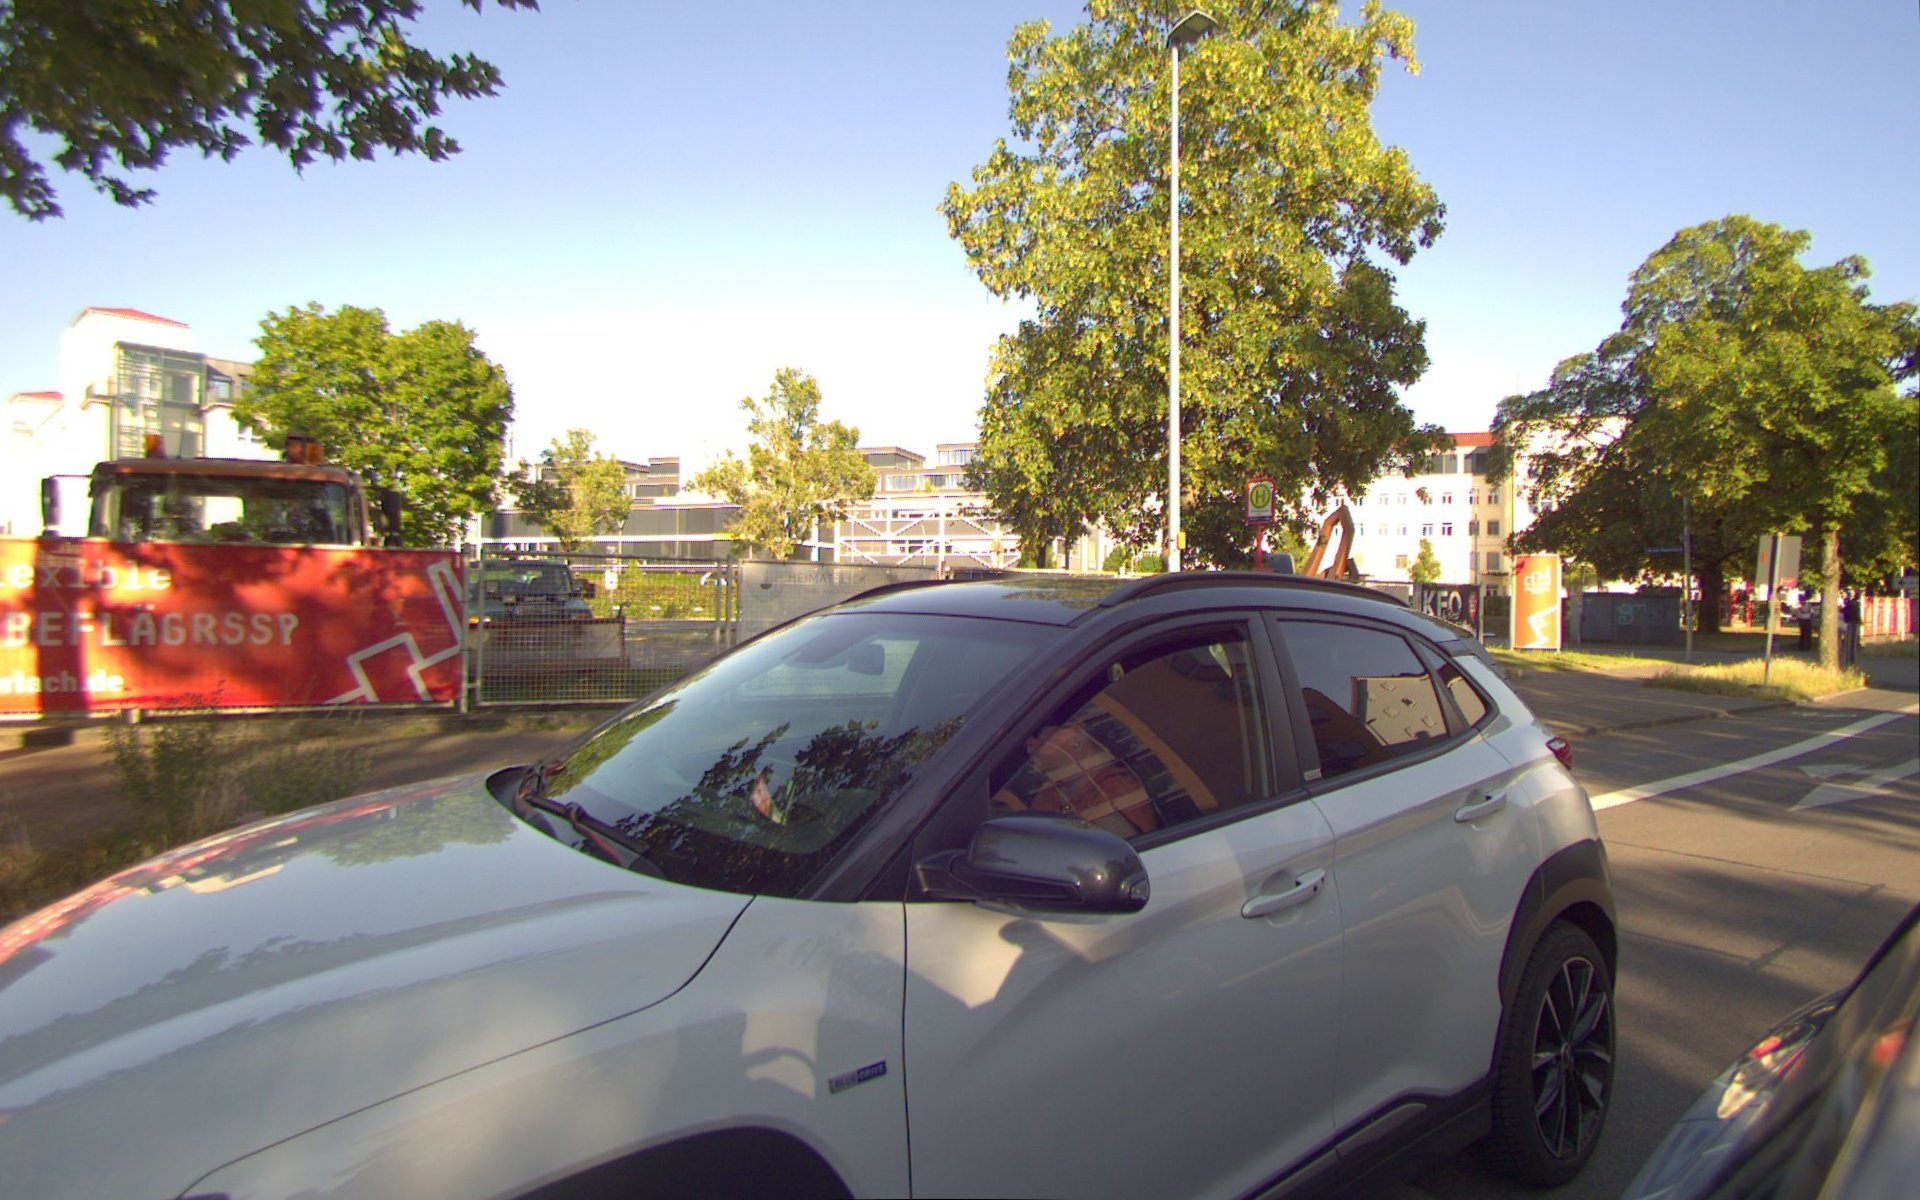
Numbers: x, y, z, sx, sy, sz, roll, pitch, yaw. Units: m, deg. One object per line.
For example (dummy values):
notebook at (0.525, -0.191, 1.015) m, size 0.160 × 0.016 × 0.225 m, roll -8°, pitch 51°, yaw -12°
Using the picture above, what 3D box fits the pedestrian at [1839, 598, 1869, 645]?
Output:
pedestrian at (27.727, 0.660, 31.380) m, size 0.627 × 1.452 × 0.609 m, roll 0°, pitch 0°, yaw -40°

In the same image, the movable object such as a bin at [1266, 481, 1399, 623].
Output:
movable object such as a bin at (15.526, -1.890, 42.767) m, size 3.910 × 5.547 × 6.022 m, roll 0°, pitch 0°, yaw 6°

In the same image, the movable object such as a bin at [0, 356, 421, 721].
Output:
movable object such as a bin at (-8.387, -0.553, 12.059) m, size 3.154 × 3.087 × 6.295 m, roll 0°, pitch 0°, yaw -31°

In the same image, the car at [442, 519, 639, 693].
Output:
car at (-5.664, 0.039, 13.299) m, size 2.001 × 1.851 × 4.612 m, roll 0°, pitch 0°, yaw -28°

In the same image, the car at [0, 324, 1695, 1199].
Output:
car at (0.023, 0.679, 2.427) m, size 3.893 × 1.618 × 1.894 m, roll 3°, pitch -2°, yaw -39°

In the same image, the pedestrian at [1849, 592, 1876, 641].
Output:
pedestrian at (31.770, 0.576, 35.634) m, size 0.694 × 1.689 × 0.629 m, roll 0°, pitch 0°, yaw 44°

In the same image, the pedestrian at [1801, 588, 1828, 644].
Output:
pedestrian at (27.206, 0.497, 32.226) m, size 0.607 × 1.759 × 0.629 m, roll 0°, pitch 0°, yaw 44°
